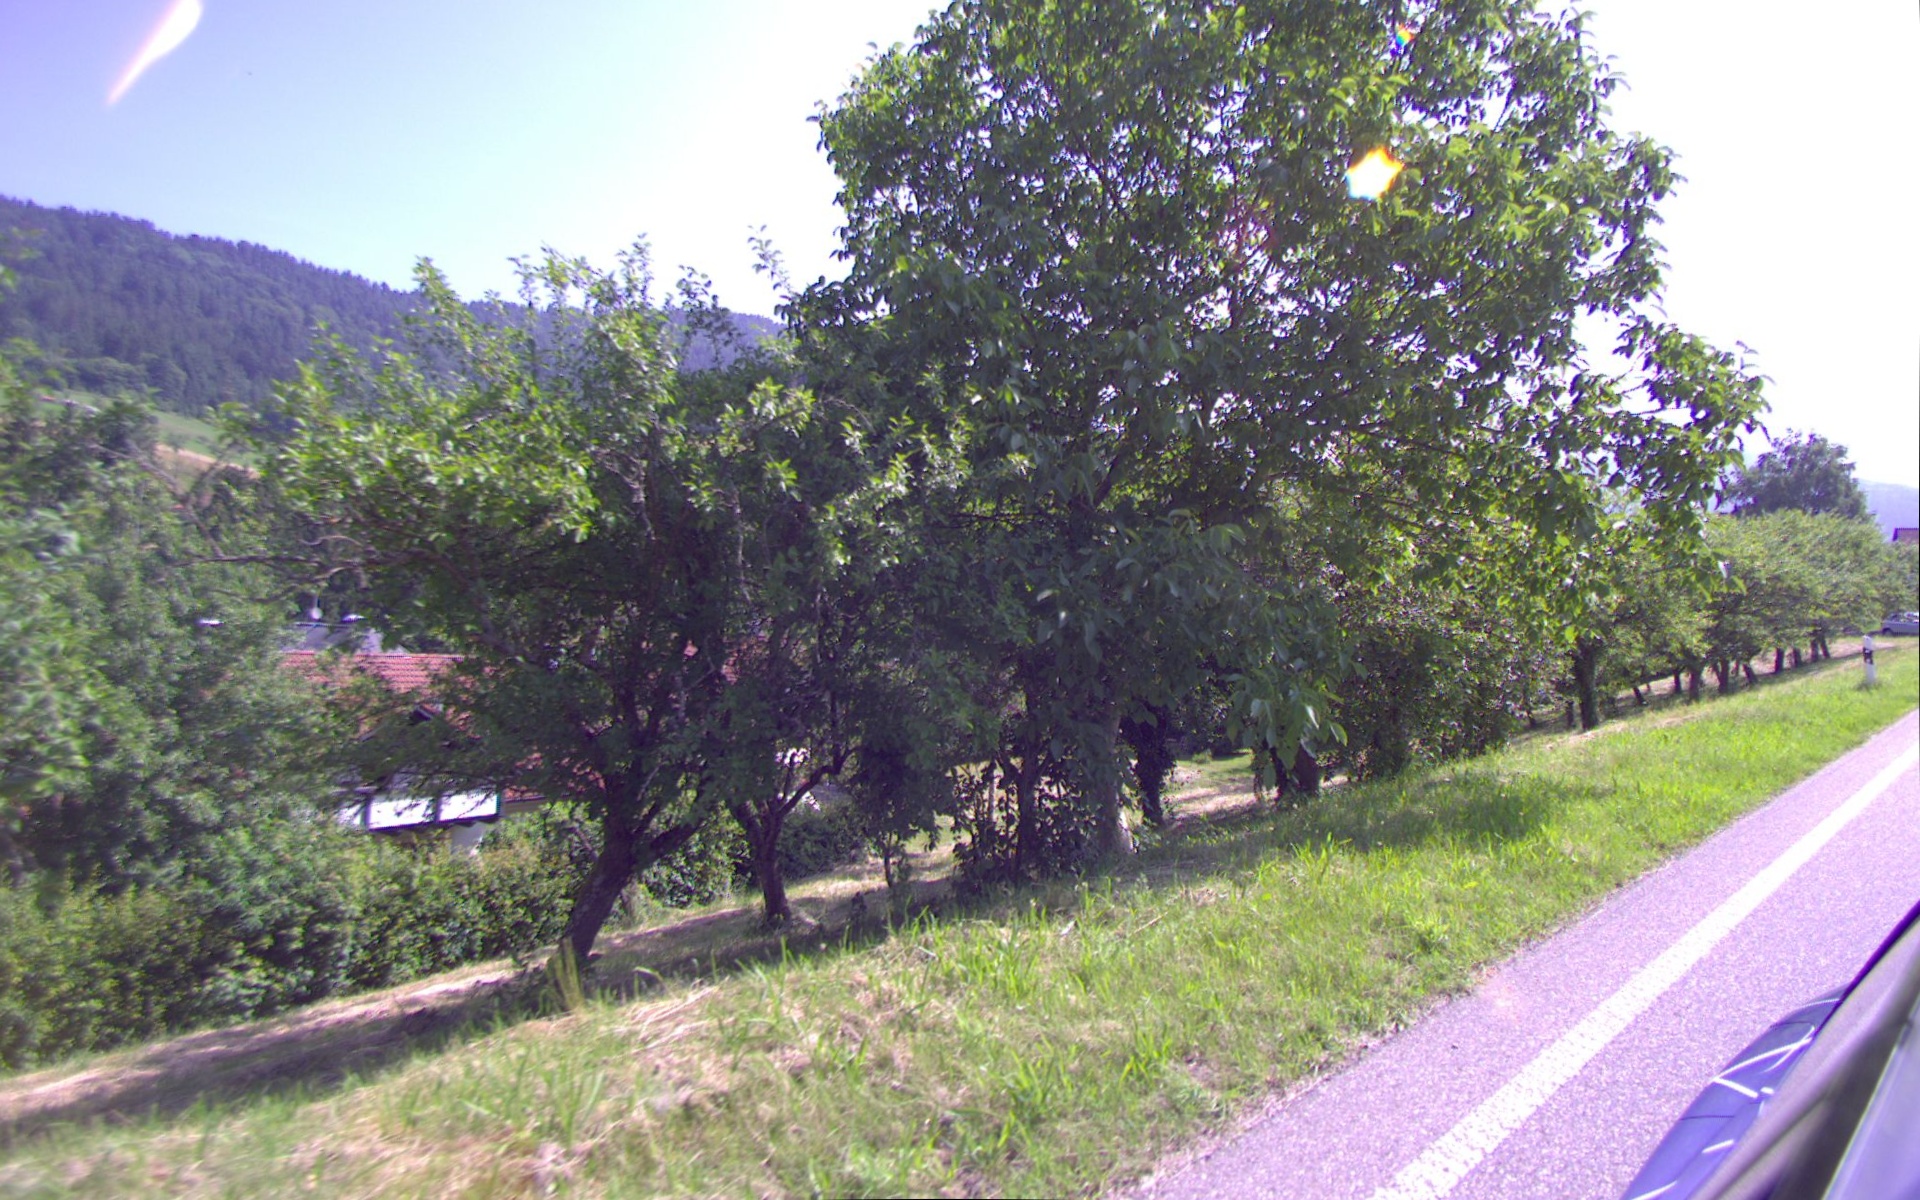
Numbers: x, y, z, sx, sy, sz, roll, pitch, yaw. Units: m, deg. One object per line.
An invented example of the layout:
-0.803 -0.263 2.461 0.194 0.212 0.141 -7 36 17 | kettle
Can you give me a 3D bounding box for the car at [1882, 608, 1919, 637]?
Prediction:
54.041 1.233 56.041 1.871 1.591 4.456 -2 -3 3 | car
